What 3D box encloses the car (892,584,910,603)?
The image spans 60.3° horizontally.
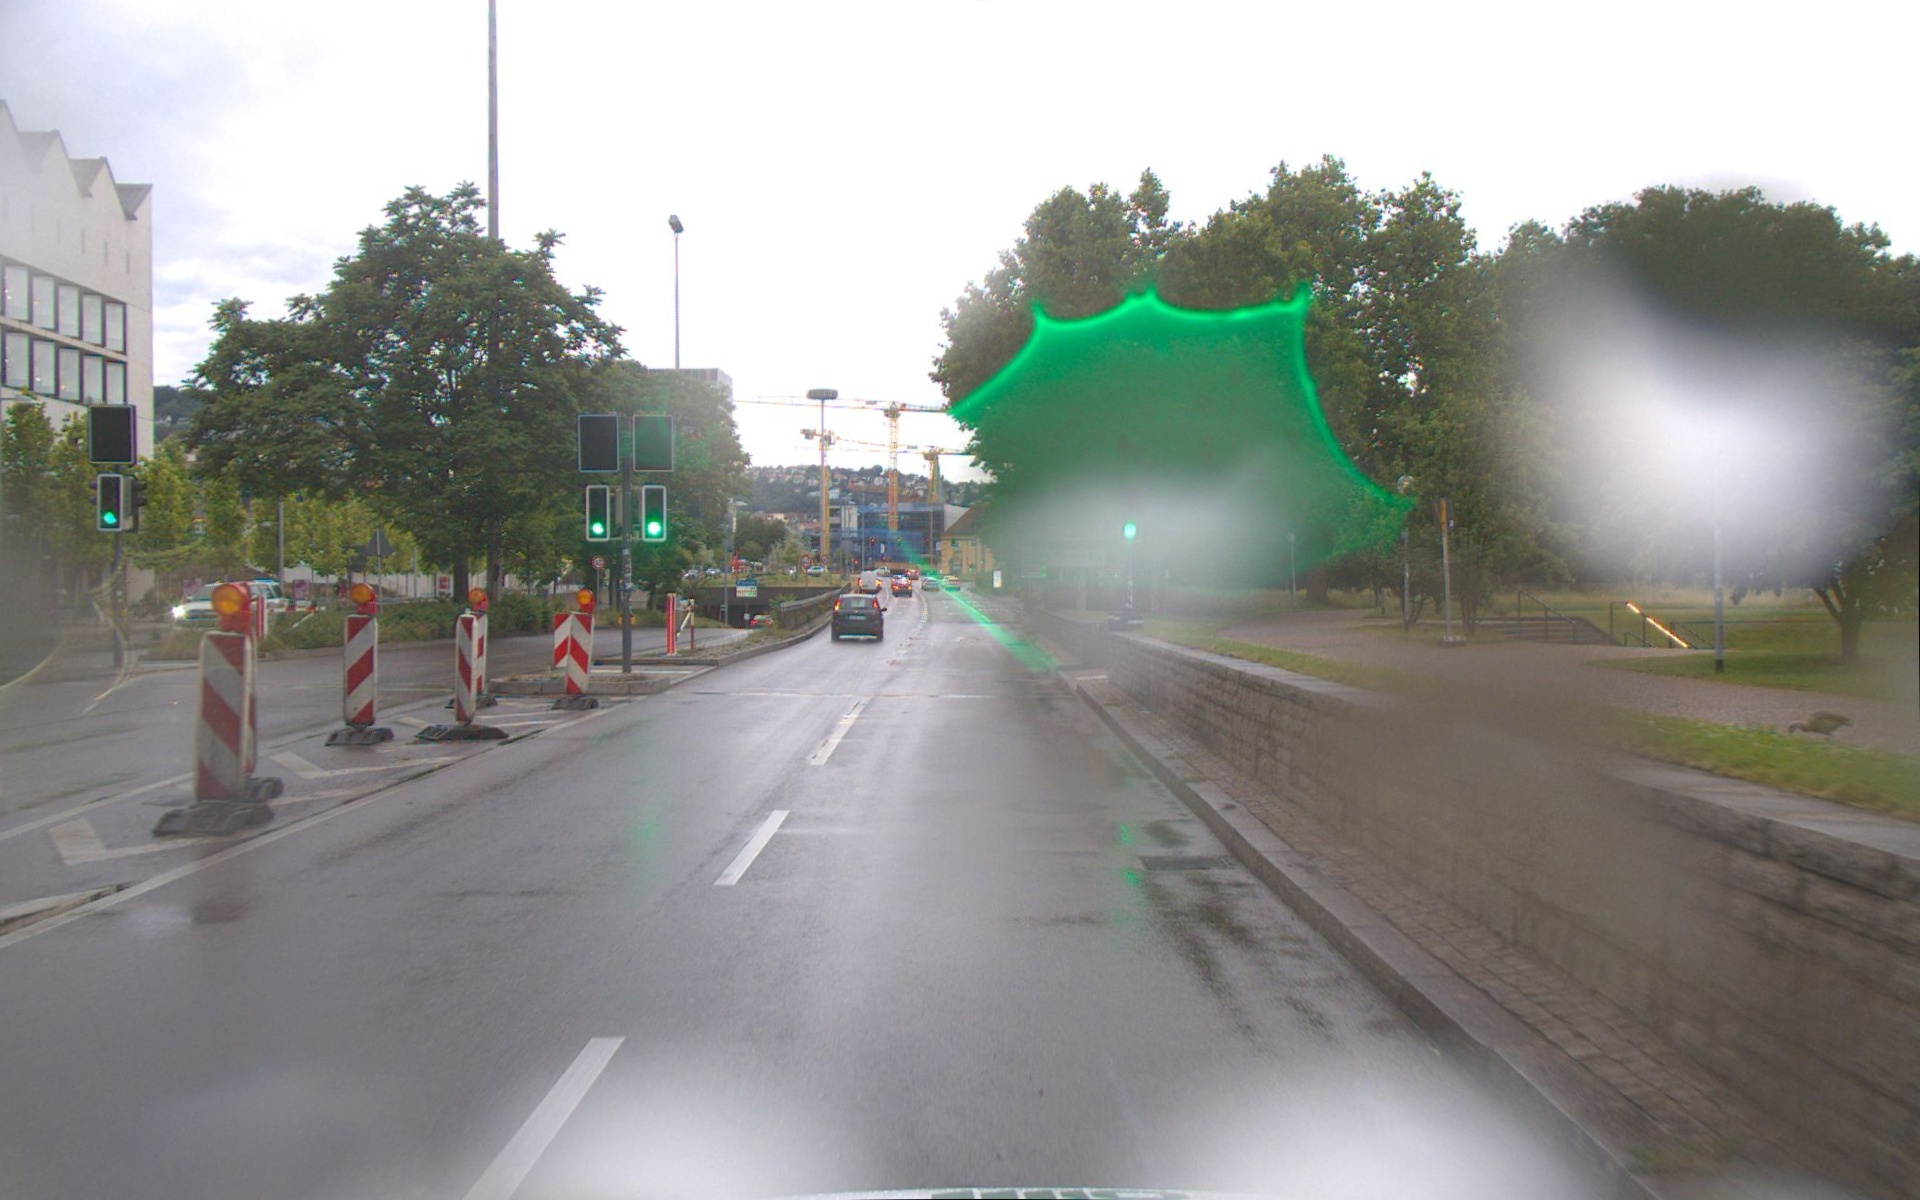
[{"bbox_3d":[-6.005,-0.674,169.162,1.703,1.802,3.999,-2,-1,0],"label":"car"}]

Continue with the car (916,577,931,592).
[{"bbox_3d":[-4.513,-1.949,202.910,1.677,1.719,3.849,-2,-1,0],"label":"car"}]

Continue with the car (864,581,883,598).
[{"bbox_3d":[-10.287,-1.230,196.484,1.953,1.814,4.000,-2,-1,0],"label":"car"}]

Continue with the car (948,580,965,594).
[{"bbox_3d":[-0.408,-1.619,205.247,1.953,1.627,4.000,-2,-1,0],"label":"car"}]

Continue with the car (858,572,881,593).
[{"bbox_3d":[-9.776,-1.877,179.301,2.174,2.049,4.000,-3,-1,0],"label":"car"}]

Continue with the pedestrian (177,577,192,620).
[{"bbox_3d":[-37.843,-0.075,80.725,0.535,2.049,0.524,-1,-1,-37],"label":"pedestrian"}]

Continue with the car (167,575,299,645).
[{"bbox_3d":[-21.110,0.298,48.227,1.954,1.872,4.888,-2,-1,-4],"label":"car"}]

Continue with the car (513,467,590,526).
[{"bbox_3d":[-13.240,-3.327,53.800,1.956,1.661,3.994,0,0,-7],"label":"car"}]

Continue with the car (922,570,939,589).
[{"bbox_3d":[-3.548,-2.440,196.887,1.947,2.049,3.998,-2,-1,-2],"label":"car"}]

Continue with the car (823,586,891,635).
[{"bbox_3d":[-3.346,0.353,52.992,1.810,1.441,3.831,-2,-1,-9],"label":"car"}]

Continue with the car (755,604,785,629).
[{"bbox_3d":[-14.572,1.220,127.078,1.953,1.812,3.999,-1,1,-1],"label":"car"}]

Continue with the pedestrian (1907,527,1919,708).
[{"bbox_3d":[9.793,0.170,16.180,0.583,1.786,0.725,-2,1,-5],"label":"pedestrian"}]
